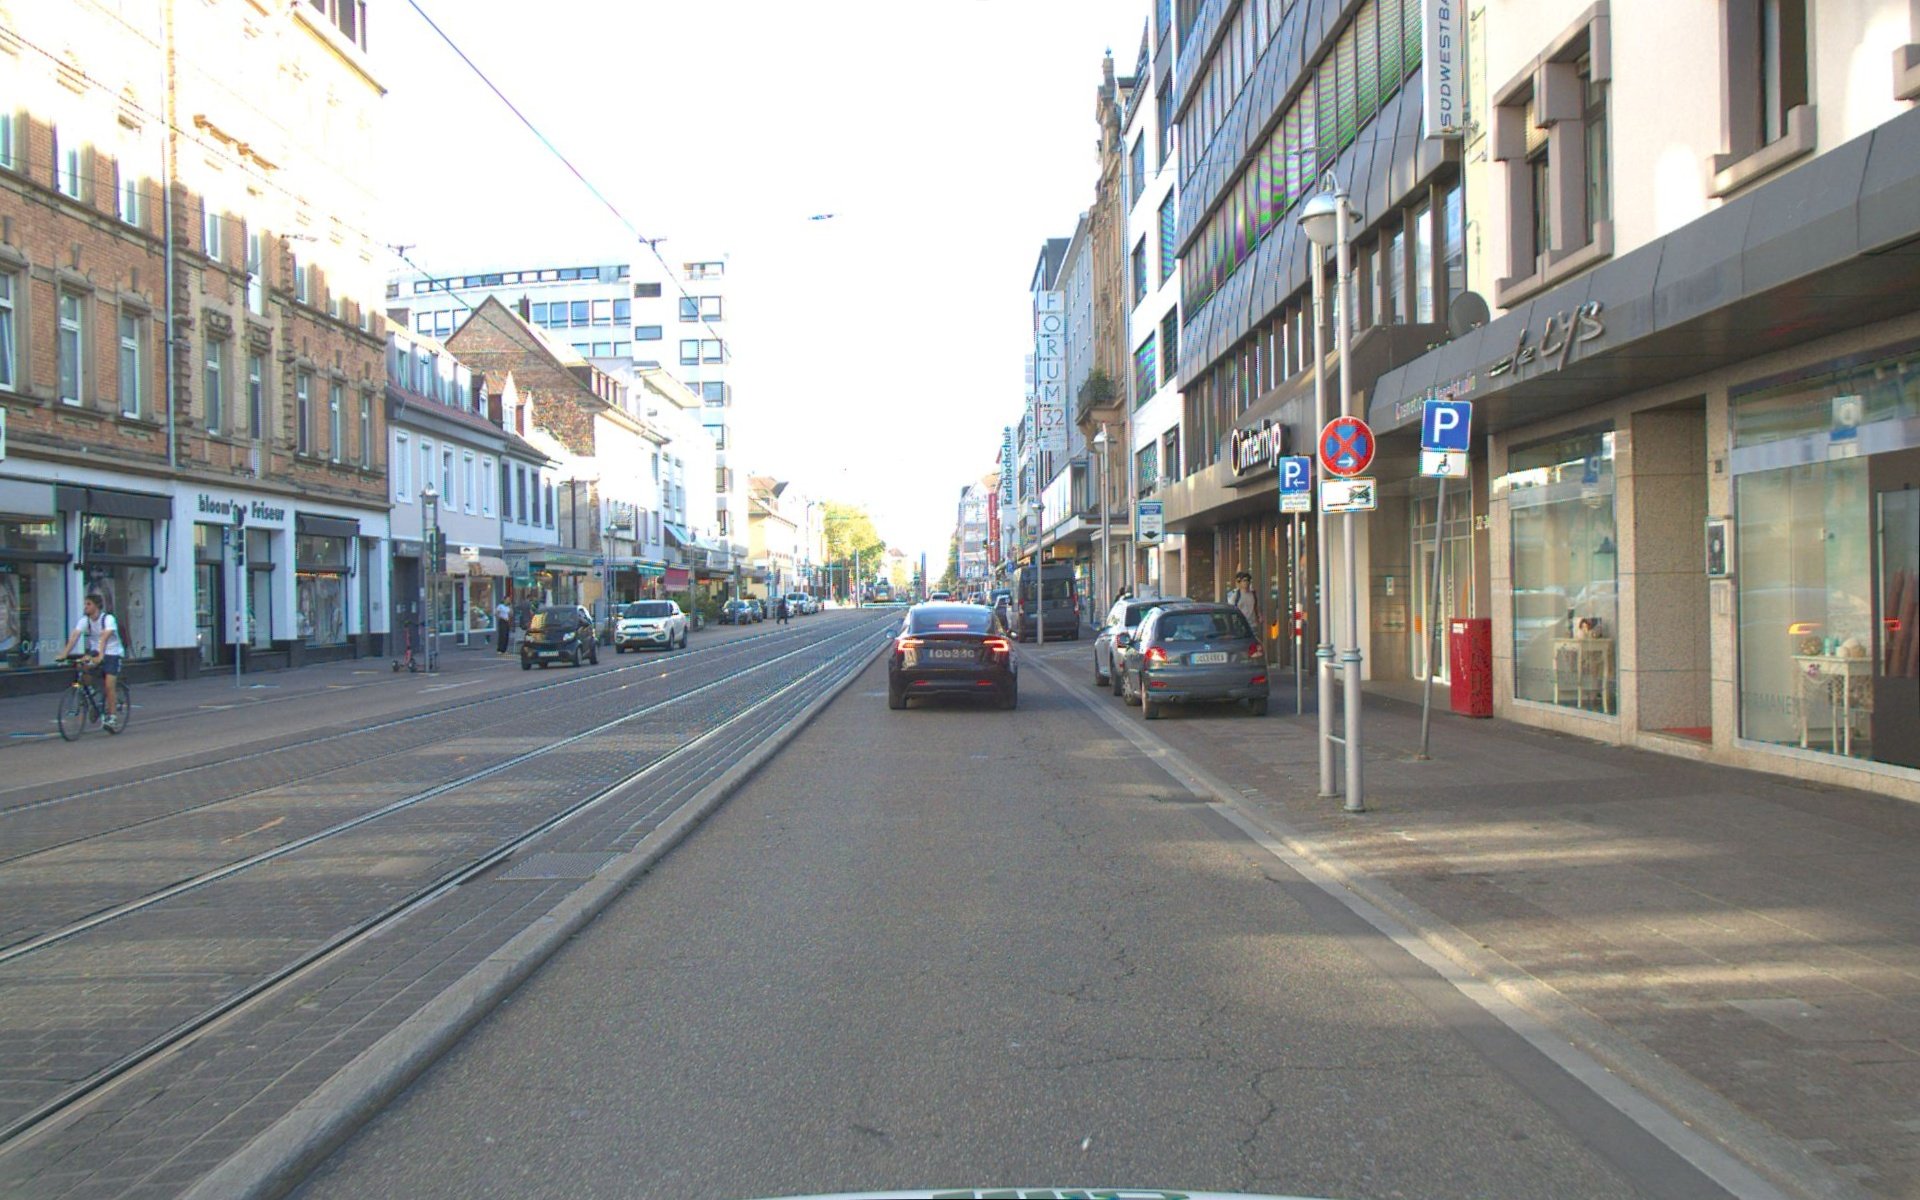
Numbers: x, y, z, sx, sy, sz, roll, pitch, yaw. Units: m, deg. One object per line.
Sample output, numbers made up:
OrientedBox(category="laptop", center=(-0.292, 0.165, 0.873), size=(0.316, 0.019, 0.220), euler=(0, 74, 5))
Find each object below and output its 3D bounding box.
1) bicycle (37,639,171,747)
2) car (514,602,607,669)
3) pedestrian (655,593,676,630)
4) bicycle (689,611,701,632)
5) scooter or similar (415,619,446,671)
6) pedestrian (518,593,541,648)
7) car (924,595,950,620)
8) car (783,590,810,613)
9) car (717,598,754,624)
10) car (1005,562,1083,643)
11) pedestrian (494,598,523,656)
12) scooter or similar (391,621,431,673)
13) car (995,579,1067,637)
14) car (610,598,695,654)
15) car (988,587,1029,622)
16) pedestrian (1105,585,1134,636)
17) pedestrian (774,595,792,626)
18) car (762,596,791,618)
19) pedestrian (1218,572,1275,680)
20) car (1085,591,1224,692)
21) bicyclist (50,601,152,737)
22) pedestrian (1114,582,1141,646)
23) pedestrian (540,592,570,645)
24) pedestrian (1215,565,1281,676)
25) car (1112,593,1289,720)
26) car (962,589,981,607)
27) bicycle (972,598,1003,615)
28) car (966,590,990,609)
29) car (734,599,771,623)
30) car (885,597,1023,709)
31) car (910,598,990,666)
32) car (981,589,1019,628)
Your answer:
OrientedBox(category="bicycle", center=(-11.459, 1.219, 22.221), size=(0.735, 1.316, 2.025), euler=(-1, 0, -1))
OrientedBox(category="car", center=(-10.001, 0.870, 41.570), size=(1.614, 1.593, 2.829), euler=(-1, 0, 0))
OrientedBox(category="pedestrian", center=(-11.747, 0.467, 65.884), size=(0.611, 1.469, 0.874), euler=(-1, -1, 4))
OrientedBox(category="bicycle", center=(-13.351, 1.085, 83.312), size=(0.363, 1.019, 1.596), euler=(-1, 0, -18))
OrientedBox(category="scooter or similar", center=(-12.985, 1.102, 40.594), size=(0.357, 1.223, 1.476), euler=(1, 0, -4))
OrientedBox(category="pedestrian", center=(-14.722, 0.710, 56.629), size=(0.644, 1.855, 0.642), euler=(-1, 0, -6))
OrientedBox(category="car", center=(-1.803, 0.572, 131.926), size=(2.042, 1.903, 3.753), euler=(-1, 1, 0))
OrientedBox(category="car", center=(-14.565, 0.135, 147.214), size=(1.968, 1.995, 4.723), euler=(-1, 0, -1))
OrientedBox(category="car", center=(-14.189, 0.701, 104.523), size=(1.733, 1.534, 3.864), euler=(-1, 0, 0))
OrientedBox(category="car", center=(2.787, 0.054, 56.297), size=(2.127, 2.504, 5.360), euler=(-3, 0, -1))
OrientedBox(category="pedestrian", center=(-14.152, 0.845, 51.832), size=(0.600, 1.806, 0.719), euler=(-1, 0, 12))
OrientedBox(category="scooter or similar", center=(-13.463, 1.133, 40.582), size=(0.568, 1.223, 1.476), euler=(0, 0, -4))
OrientedBox(category="car", center=(2.643, 0.269, 62.838), size=(2.116, 1.959, 4.614), euler=(-4, 1, -4))
OrientedBox(category="car", center=(-9.778, 0.789, 52.910), size=(1.851, 1.621, 4.262), euler=(-3, 0, 0))
OrientedBox(category="car", center=(2.239, 0.176, 76.703), size=(1.716, 1.525, 3.753), euler=(-2, 1, 0))
OrientedBox(category="pedestrian", center=(5.102, 0.328, 52.808), size=(0.753, 1.570, 0.804), euler=(-3, 0, -1))
OrientedBox(category="pedestrian", center=(-10.737, 0.625, 100.290), size=(0.757, 1.881, 0.827), euler=(-1, 0, 30))
OrientedBox(category="car", center=(-14.190, 0.550, 127.934), size=(1.682, 1.599, 3.850), euler=(-1, 0, 1))
OrientedBox(category="pedestrian", center=(4.856, 0.431, 28.067), size=(0.763, 1.782, 1.032), euler=(-1, 0, 0))
OrientedBox(category="car", center=(3.132, 0.630, 27.429), size=(1.710, 1.487, 4.295), euler=(-2, 0, -1))
OrientedBox(category="bicyclist", center=(-11.479, 0.899, 22.142), size=(0.735, 1.759, 1.146), euler=(-1, 0, 0))
OrientedBox(category="pedestrian", center=(4.687, 0.396, 46.272), size=(0.545, 1.744, 0.954), euler=(-3, 0, -2))
OrientedBox(category="pedestrian", center=(-14.062, 0.631, 57.429), size=(0.868, 1.806, 0.688), euler=(-1, 0, -2))
OrientedBox(category="pedestrian", center=(5.089, 0.353, 29.272), size=(0.904, 1.874, 0.999), euler=(-3, 0, 0))
OrientedBox(category="car", center=(3.163, 0.694, 22.545), size=(1.810, 1.487, 4.303), euler=(-2, 0, 1))
OrientedBox(category="car", center=(1.177, -0.215, 172.218), size=(1.953, 1.784, 3.999), euler=(-1, 0, -1))
OrientedBox(category="bicycle", center=(1.902, 0.442, 114.910), size=(2.116, 1.116, 0.686), euler=(-2, 0, -3))
OrientedBox(category="car", center=(1.533, -0.032, 143.725), size=(1.953, 1.570, 3.999), euler=(-1, 0, -1))
OrientedBox(category="car", center=(-13.869, 0.740, 110.662), size=(1.733, 1.534, 3.862), euler=(-1, 0, 3))
OrientedBox(category="car", center=(-0.087, 0.710, 24.468), size=(1.831, 1.452, 4.364), euler=(-1, 1, 0))
OrientedBox(category="car", center=(-0.236, 0.714, 38.357), size=(1.726, 1.443, 4.354), euler=(-1, 0, 0))
OrientedBox(category="car", center=(1.983, 0.401, 82.838), size=(1.784, 1.903, 3.753), euler=(-1, 1, 0))
